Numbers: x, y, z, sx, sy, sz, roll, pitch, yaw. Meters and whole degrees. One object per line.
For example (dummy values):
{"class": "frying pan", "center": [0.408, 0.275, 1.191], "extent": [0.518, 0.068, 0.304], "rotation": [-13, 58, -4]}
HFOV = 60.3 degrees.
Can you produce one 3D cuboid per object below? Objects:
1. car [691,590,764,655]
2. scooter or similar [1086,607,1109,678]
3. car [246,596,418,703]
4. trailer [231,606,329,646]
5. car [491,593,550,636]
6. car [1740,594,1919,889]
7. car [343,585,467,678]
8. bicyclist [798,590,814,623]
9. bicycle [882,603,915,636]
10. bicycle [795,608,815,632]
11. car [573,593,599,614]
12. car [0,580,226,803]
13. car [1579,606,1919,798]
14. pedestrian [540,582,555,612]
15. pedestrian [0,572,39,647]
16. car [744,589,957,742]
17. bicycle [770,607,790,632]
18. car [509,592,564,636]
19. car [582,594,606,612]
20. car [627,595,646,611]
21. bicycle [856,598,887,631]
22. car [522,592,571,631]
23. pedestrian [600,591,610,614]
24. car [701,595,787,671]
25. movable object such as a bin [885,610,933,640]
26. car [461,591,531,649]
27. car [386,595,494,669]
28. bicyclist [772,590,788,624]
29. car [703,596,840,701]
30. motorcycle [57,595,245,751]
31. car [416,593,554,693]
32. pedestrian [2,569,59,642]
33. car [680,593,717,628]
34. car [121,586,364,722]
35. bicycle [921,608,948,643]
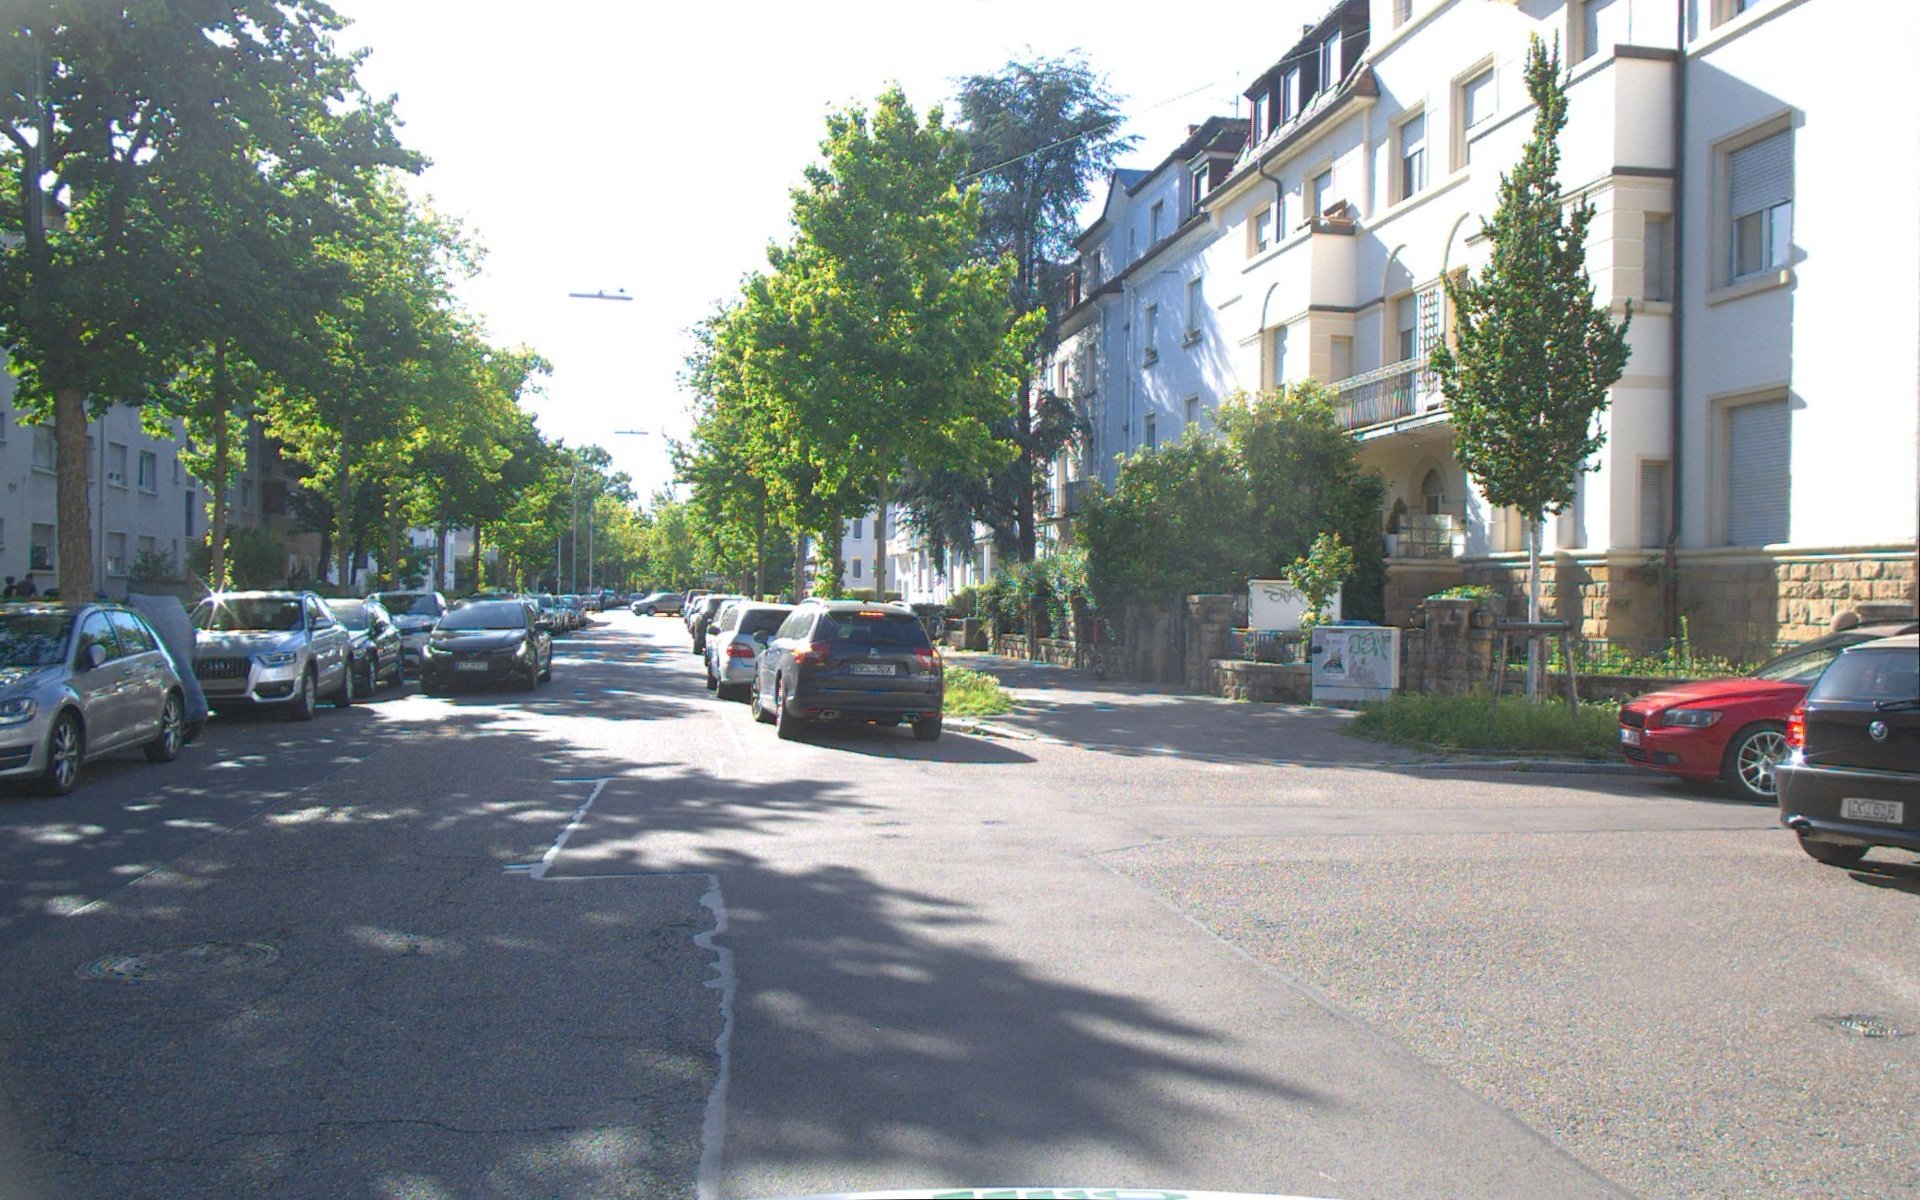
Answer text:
{"class": "car", "center": [-6.630, 0.588, 47.030], "extent": [1.890, 1.680, 5.085], "rotation": [2, 0, -9]}
{"class": "scooter or similar", "center": [2.431, 0.735, 29.257], "extent": [0.393, 1.205, 1.206], "rotation": [0, 1, 5]}
{"class": "car", "center": [-9.911, 0.706, 26.453], "extent": [1.697, 1.472, 4.808], "rotation": [-2, 1, -11]}
{"class": "trailer", "center": [-18.912, 0.715, 46.140], "extent": [1.755, 1.052, 3.275], "rotation": [1, 0, -8]}
{"class": "car", "center": [-15.783, 0.506, 59.565], "extent": [1.730, 1.469, 3.898], "rotation": [-1, 0, -11]}
{"class": "car", "center": [6.677, 0.736, 9.879], "extent": [3.946, 1.550, 1.770], "rotation": [0, 0, -31]}
{"class": "car", "center": [-10.960, 0.581, 32.919], "extent": [1.698, 1.646, 4.354], "rotation": [-3, 1, -11]}
{"class": "bicyclist", "center": [-7.481, 0.295, 80.280], "extent": [0.664, 1.580, 1.018], "rotation": [0, 0, -13]}
{"class": "bicycle", "center": [-2.167, 0.667, 58.277], "extent": [0.790, 1.135, 1.993], "rotation": [1, 0, -13]}
{"class": "bicycle", "center": [-7.534, 0.959, 80.476], "extent": [0.672, 1.173, 2.395], "rotation": [0, 0, -13]}
{"class": "car", "center": [-31.184, 0.278, 137.923], "extent": [1.957, 1.700, 3.991], "rotation": [0, 0, -10]}
{"class": "car", "center": [-7.773, 0.620, 13.642], "extent": [2.005, 1.551, 4.596], "rotation": [0, 0, -9]}
{"class": "car", "center": [7.916, 0.825, 14.047], "extent": [4.619, 1.495, 1.954], "rotation": [0, 0, 4]}
{"class": "pedestrian", "center": [-28.897, -0.207, 115.789], "extent": [0.842, 2.049, 0.981], "rotation": [0, 0, -2]}
{"class": "pedestrian", "center": [-24.628, 0.243, 43.035], "extent": [0.764, 1.947, 0.879], "rotation": [0, 0, 16]}
{"class": "car", "center": [-1.436, 0.706, 19.503], "extent": [1.862, 1.551, 4.953], "rotation": [1, -1, -11]}
{"class": "bicycle", "center": [-8.771, 0.926, 80.605], "extent": [0.672, 1.173, 2.395], "rotation": [0, 0, -13]}
{"class": "car", "center": [-16.502, 0.521, 64.608], "extent": [1.778, 1.624, 4.222], "rotation": [0, 0, -10]}
{"class": "car", "center": [-33.805, 0.263, 152.947], "extent": [1.957, 1.613, 3.991], "rotation": [0, 0, -10]}
{"class": "car", "center": [-33.928, 0.341, 173.415], "extent": [1.753, 1.637, 3.985], "rotation": [0, 0, -14]}
{"class": "bicycle", "center": [-3.489, 0.554, 65.082], "extent": [0.824, 1.279, 2.223], "rotation": [1, 0, -14]}
{"class": "car", "center": [-17.593, 0.488, 70.529], "extent": [1.679, 1.571, 3.921], "rotation": [-2, 0, -10]}
{"class": "pedestrian", "center": [-29.998, 0.185, 139.609], "extent": [0.704, 1.933, 0.832], "rotation": [0, 0, -20]}
{"class": "car", "center": [-4.963, 0.709, 37.618], "extent": [1.625, 1.559, 3.958], "rotation": [3, 0, -11]}
{"class": "movable object such as a bin", "center": [-1.627, 0.801, 52.877], "extent": [1.195, 0.920, 1.666], "rotation": [0, 0, 10]}
{"class": "car", "center": [-13.994, 0.572, 50.059], "extent": [1.759, 1.594, 4.450], "rotation": [-2, 1, -13]}
{"class": "car", "center": [-11.912, 0.689, 38.162], "extent": [1.697, 1.503, 4.608], "rotation": [-3, 1, -10]}
{"class": "bicyclist", "center": [-8.746, 0.341, 80.545], "extent": [0.665, 1.638, 0.918], "rotation": [0, 0, -14]}
{"class": "car", "center": [-3.177, 0.723, 27.077], "extent": [1.789, 1.495, 4.896], "rotation": [2, 0, -11]}
{"class": "motorcycle", "center": [-8.534, 0.721, 17.412], "extent": [2.192, 1.530, 0.984], "rotation": [0, 0, 40]}
{"class": "car", "center": [-7.740, 0.641, 27.294], "extent": [1.777, 1.471, 4.354], "rotation": [-1, 0, -11]}
{"class": "pedestrian", "center": [-24.807, 0.151, 44.158], "extent": [0.914, 1.921, 1.026], "rotation": [0, 0, 0]}
{"class": "car", "center": [-15.276, 0.588, 96.469], "extent": [1.935, 1.983, 4.972], "rotation": [1, 0, -11]}
{"class": "car", "center": [-9.071, 0.603, 21.348], "extent": [2.028, 1.551, 4.706], "rotation": [0, 0, -13]}
{"class": "bicycle", "center": [-0.773, 0.751, 49.477], "extent": [0.570, 0.992, 1.900], "rotation": [0, 0, -8]}
